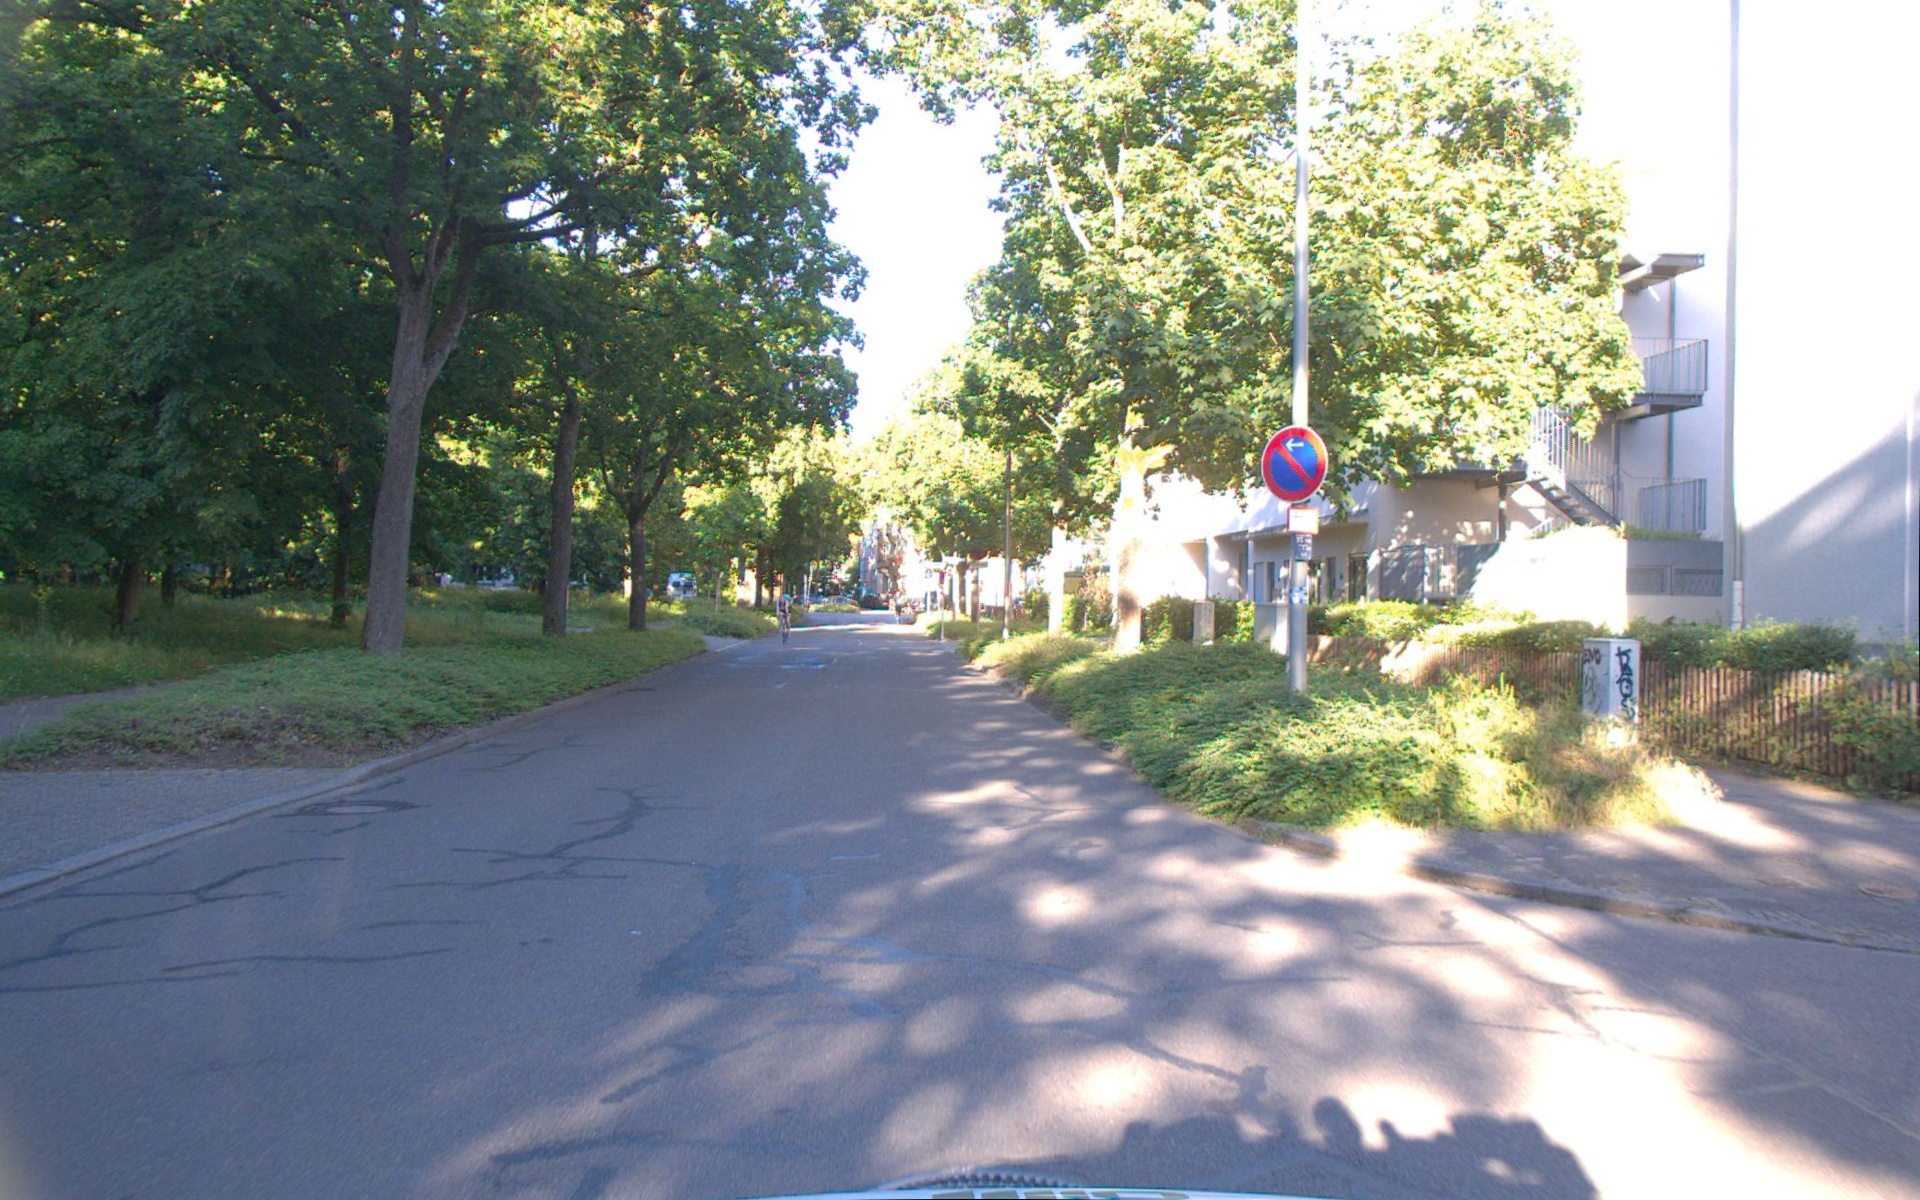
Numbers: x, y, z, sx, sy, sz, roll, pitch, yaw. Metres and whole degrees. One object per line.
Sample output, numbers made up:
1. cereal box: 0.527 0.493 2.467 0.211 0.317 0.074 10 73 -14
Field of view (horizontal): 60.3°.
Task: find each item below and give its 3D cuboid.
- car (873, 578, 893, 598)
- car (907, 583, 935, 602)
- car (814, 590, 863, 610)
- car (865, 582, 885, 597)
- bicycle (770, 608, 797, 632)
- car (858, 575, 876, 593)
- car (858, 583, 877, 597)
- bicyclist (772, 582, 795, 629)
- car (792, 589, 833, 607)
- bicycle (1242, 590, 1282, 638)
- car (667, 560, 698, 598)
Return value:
1. car: -7.901 -1.211 169.837 1.777 1.959 3.995 2 0 -7
2. car: -3.338 -0.648 141.417 1.778 1.527 3.990 0 1 -10
3. car: -10.208 0.015 138.980 3.916 1.527 1.812 2 0 -11
4. car: -9.150 -1.085 177.912 1.777 1.527 3.995 2 0 -7
5. bicycle: -5.972 0.685 56.096 0.625 0.755 2.126 -1 1 1
6. car: -10.970 -1.883 194.568 1.777 2.086 3.995 2 0 -7
7. car: -10.331 -1.148 184.386 1.777 1.527 3.995 2 0 -7
8. bicyclist: -5.986 0.179 56.082 0.620 1.582 1.002 -1 0 0
9. car: -13.445 -0.160 150.974 3.523 1.536 1.496 2 0 -11
10. bicycle: 7.878 0.359 43.183 0.605 1.212 1.752 1 0 -3
11. car: -19.643 -1.483 116.943 1.958 2.552 3.989 1 0 -12
